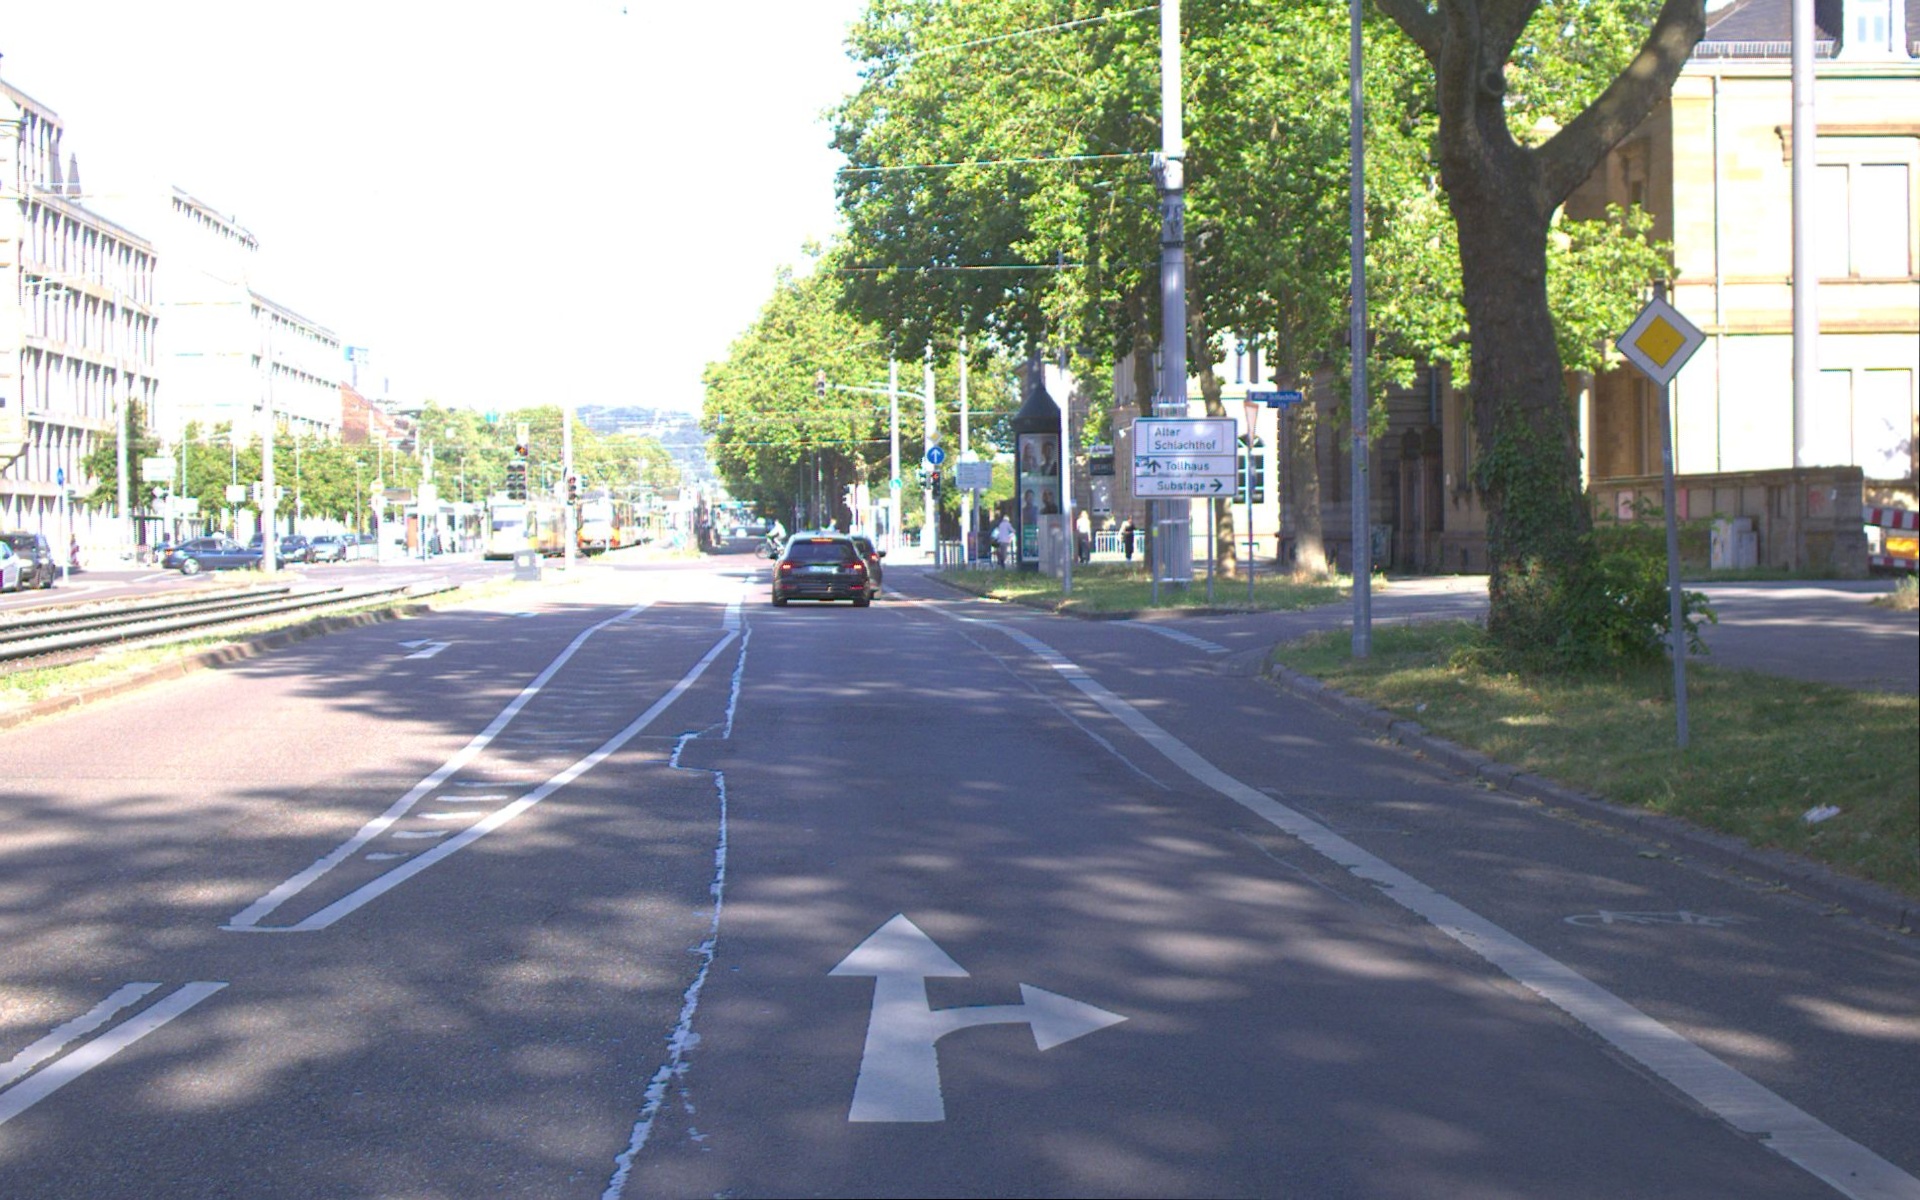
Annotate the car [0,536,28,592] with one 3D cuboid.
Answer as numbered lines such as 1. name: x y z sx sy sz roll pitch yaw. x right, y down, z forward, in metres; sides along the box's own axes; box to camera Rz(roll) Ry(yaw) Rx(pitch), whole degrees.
1. car: -27.377 -1.047 96.012 1.794 1.505 4.186 3 1 -5

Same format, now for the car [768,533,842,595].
1. car: -3.923 -0.921 86.674 1.794 1.505 4.001 -1 1 -3

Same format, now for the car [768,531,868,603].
1. car: -2.836 -0.671 67.960 1.833 1.386 4.160 0 1 -4

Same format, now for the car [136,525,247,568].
1. car: -28.810 -1.998 128.968 3.986 1.505 1.801 1 0 -12

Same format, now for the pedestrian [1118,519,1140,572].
1. pedestrian: 5.514 -1.774 112.114 0.588 1.722 0.650 1 1 11

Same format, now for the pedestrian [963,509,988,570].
1. pedestrian: 0.450 -1.713 97.911 0.588 1.722 0.650 1 1 9

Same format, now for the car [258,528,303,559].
1. car: -33.169 -2.765 167.835 1.794 1.505 4.001 -1 1 -6

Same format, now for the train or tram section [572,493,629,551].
1. train or tram section: -21.921 -4.774 209.936 2.825 3.439 9.065 -1 1 -2

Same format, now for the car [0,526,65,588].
1. car: -27.763 -1.286 101.568 1.794 1.713 4.186 3 1 -5

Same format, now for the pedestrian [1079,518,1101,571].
1. pedestrian: 4.242 -1.804 112.135 0.588 1.722 0.650 1 1 9

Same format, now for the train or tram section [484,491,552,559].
1. train or tram section: -22.906 -3.889 178.445 2.825 3.439 9.065 -1 1 -3

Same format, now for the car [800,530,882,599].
1. car: -2.734 -0.823 78.217 1.794 1.505 4.001 -1 1 -3
